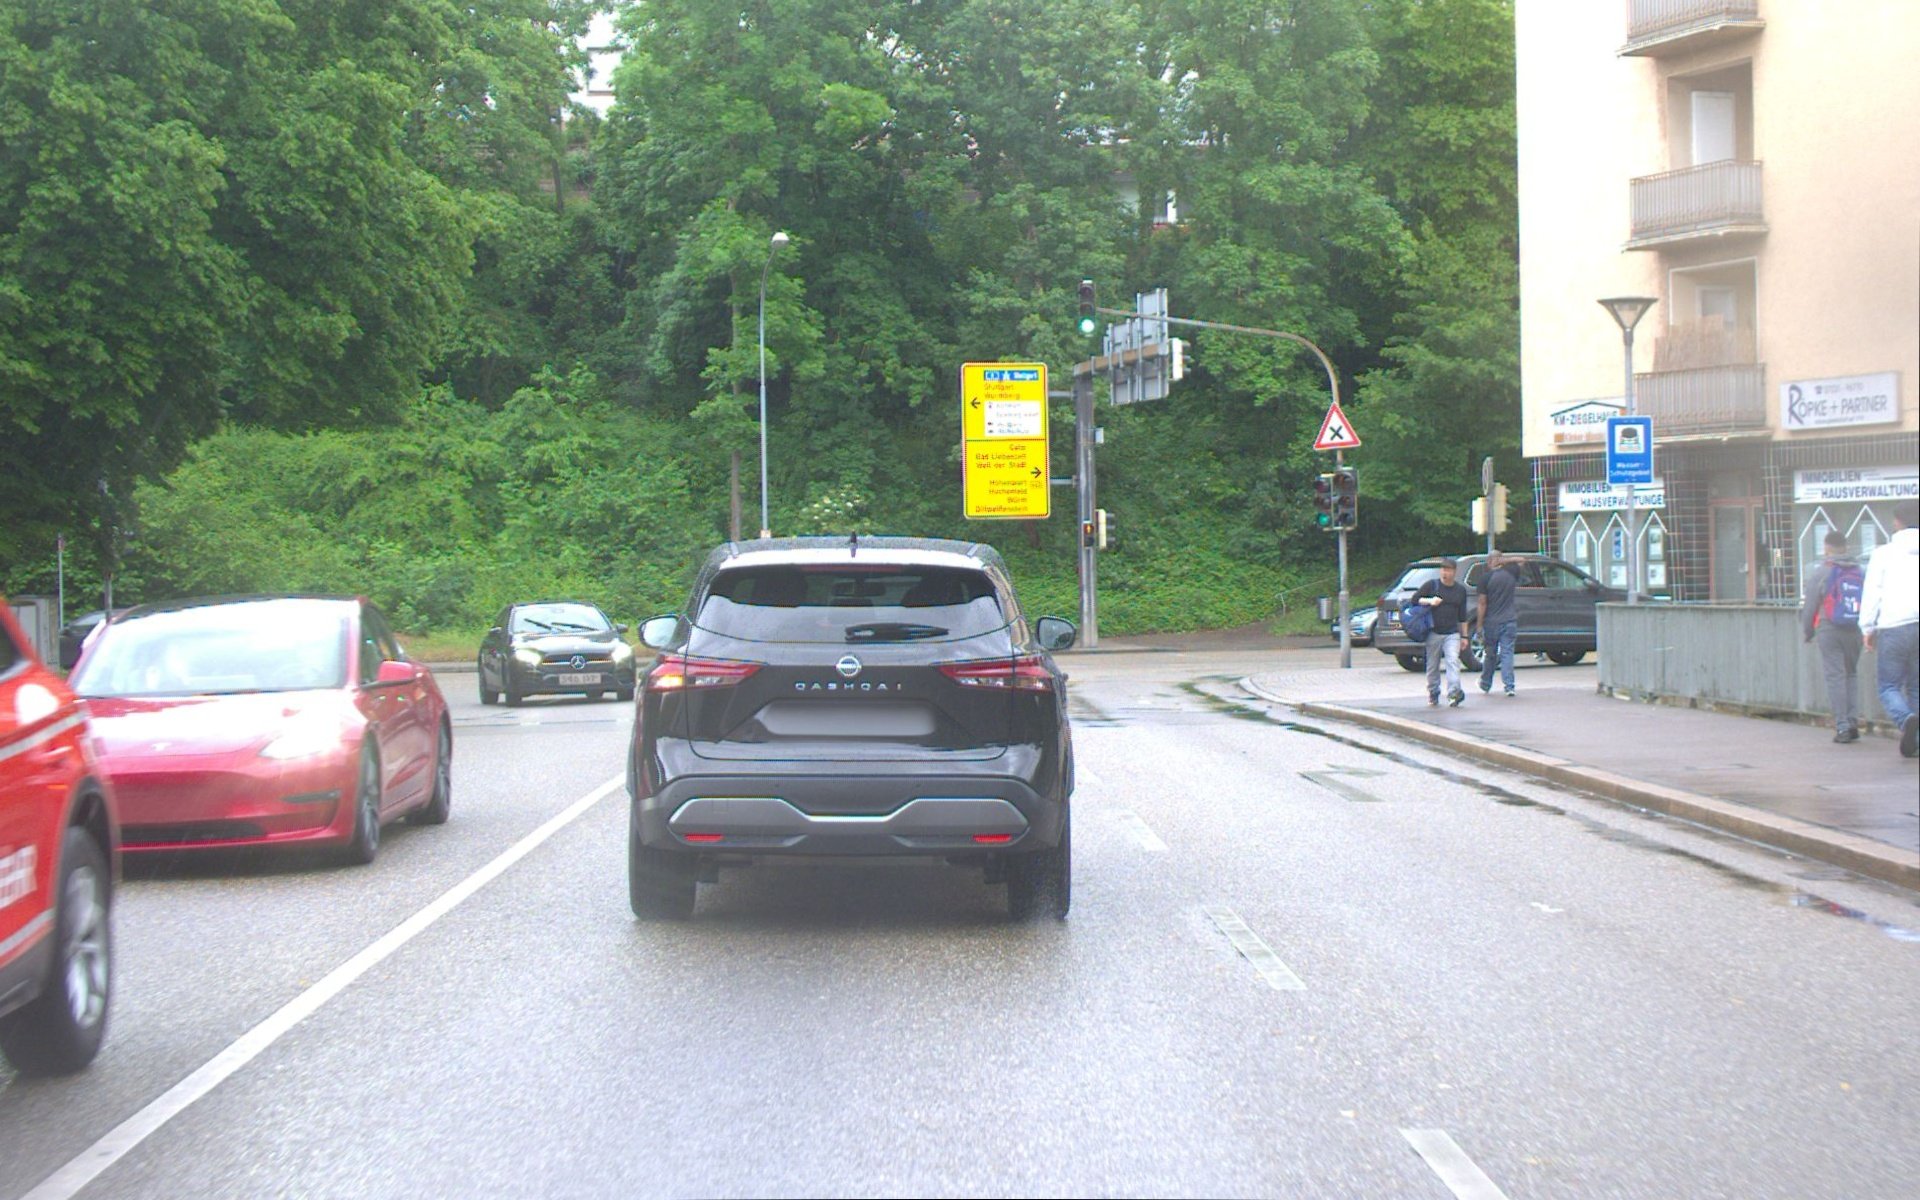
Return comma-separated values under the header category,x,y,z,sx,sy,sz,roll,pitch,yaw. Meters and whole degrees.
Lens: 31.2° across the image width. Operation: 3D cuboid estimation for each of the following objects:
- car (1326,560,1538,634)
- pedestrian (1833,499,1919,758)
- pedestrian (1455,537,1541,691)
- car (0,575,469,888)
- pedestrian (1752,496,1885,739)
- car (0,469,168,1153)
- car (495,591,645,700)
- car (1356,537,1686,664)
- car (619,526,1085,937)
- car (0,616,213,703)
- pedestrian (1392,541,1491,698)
category,x,y,z,sx,sy,sz,roll,pitch,yaw
car,10.701,-0.080,78.042,4.323,1.497,1.884,-2,0,-12
pedestrian,6.578,0.187,23.755,0.779,1.746,1.061,-1,0,-1
pedestrian,6.040,0.151,38.602,0.761,1.671,0.781,-3,1,-1
car,-3.868,0.621,18.696,1.781,1.397,4.219,-2,1,-1
pedestrian,6.531,0.127,26.189,0.761,1.802,0.781,-2,1,-1
car,-3.387,0.564,8.382,1.888,1.729,4.371,-2,1,-1
car,-5.562,0.608,48.643,1.709,1.411,4.095,-2,1,-11
car,8.092,-0.002,49.568,4.366,1.643,1.884,-2,0,-26
car,-0.458,0.498,15.413,1.811,1.597,4.000,0,0,-1
car,-15.069,1.035,59.835,3.675,1.415,1.631,-1,0,9
pedestrian,5.091,0.203,36.374,0.862,1.613,0.839,-2,0,-1
